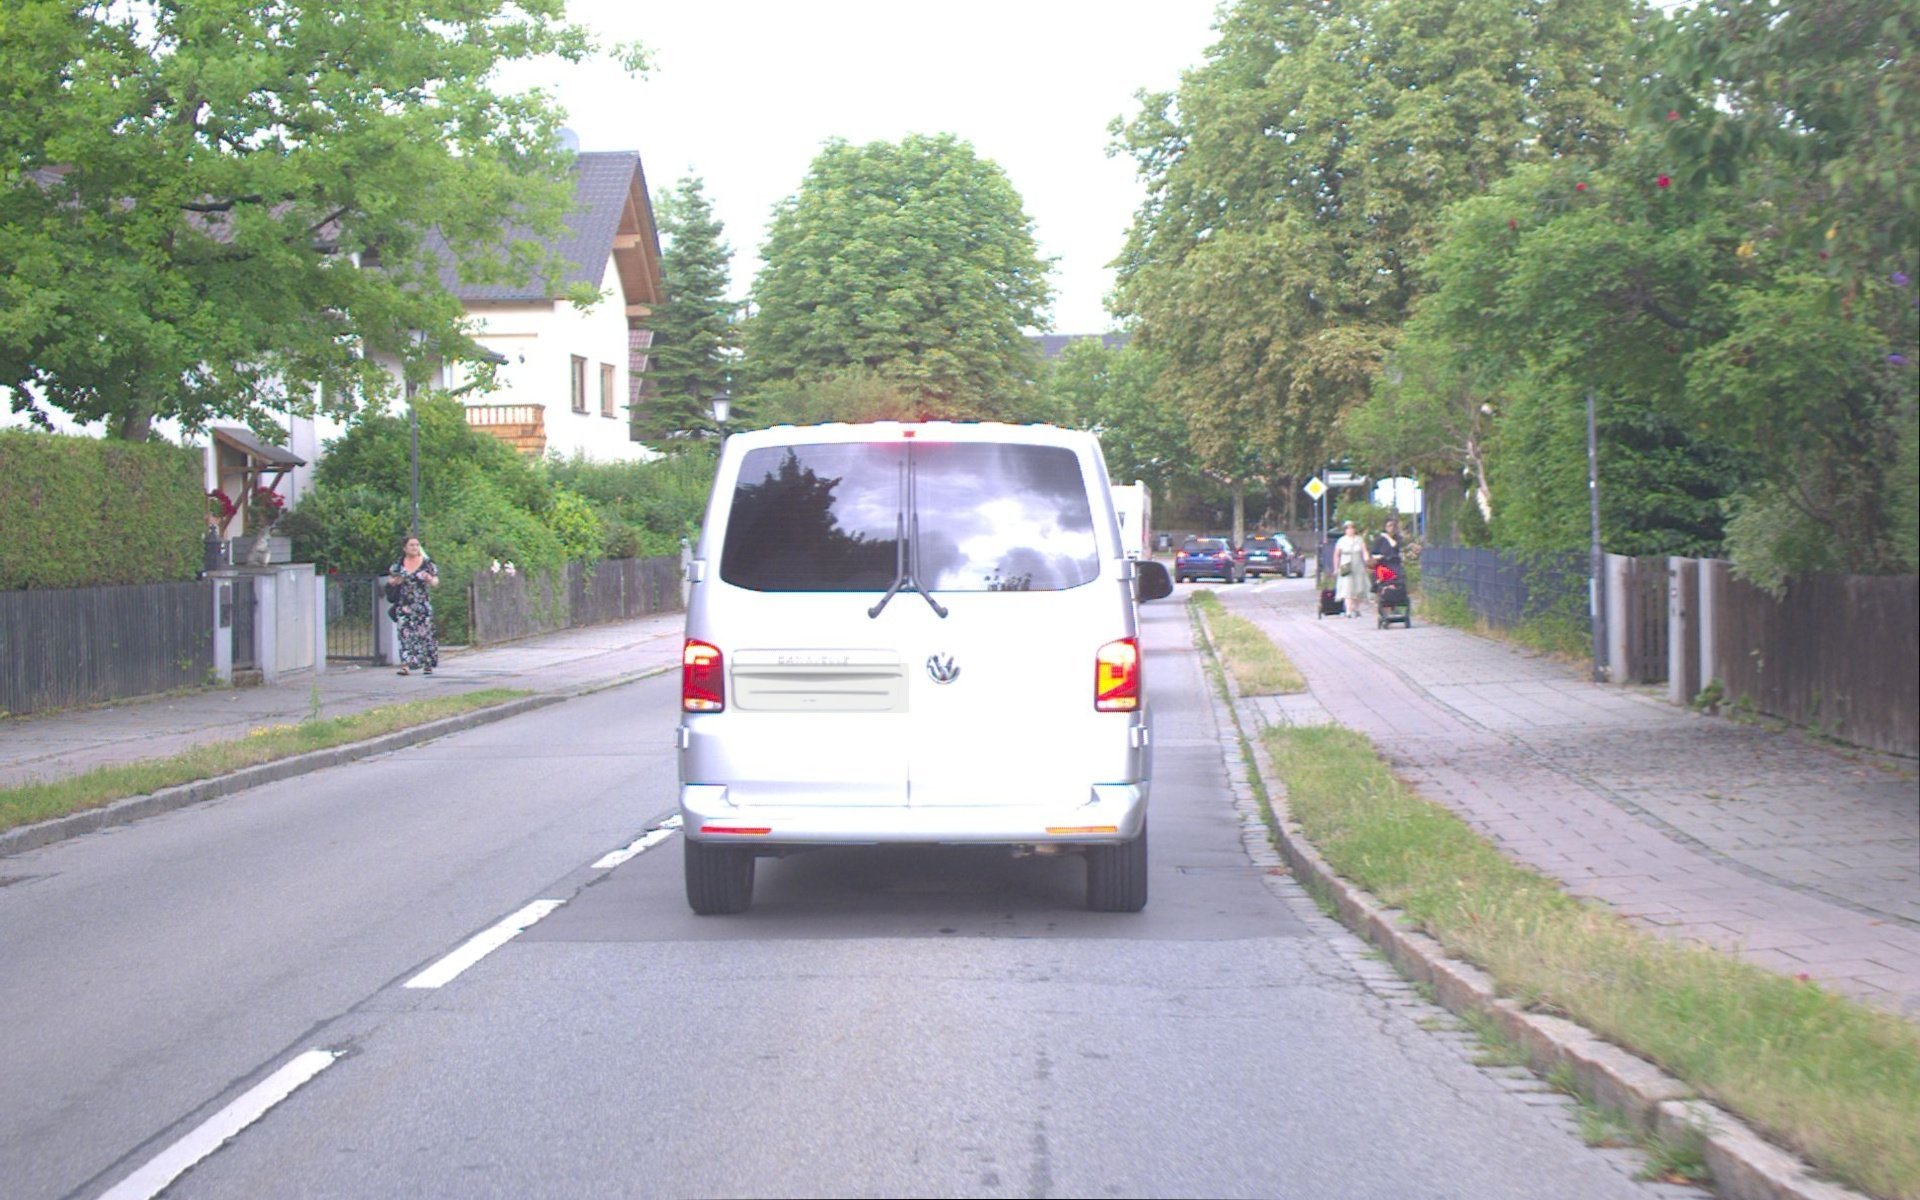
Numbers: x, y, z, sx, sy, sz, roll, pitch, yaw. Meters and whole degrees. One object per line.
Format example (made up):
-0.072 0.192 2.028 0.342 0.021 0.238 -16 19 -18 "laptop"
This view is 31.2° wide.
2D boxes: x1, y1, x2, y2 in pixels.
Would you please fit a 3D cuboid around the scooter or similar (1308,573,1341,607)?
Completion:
5.989 -0.171 56.467 0.474 0.543 0.459 1 1 -1 "scooter or similar"

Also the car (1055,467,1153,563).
3.185 -1.855 75.480 1.994 2.007 4.000 1 1 4 "car"

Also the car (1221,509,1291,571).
9.975 -2.035 115.540 1.994 2.007 3.999 -1 1 10 "car"

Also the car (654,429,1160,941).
-0.112 0.283 14.864 1.888 1.905 4.000 0 1 3 "car"

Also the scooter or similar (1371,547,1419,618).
5.990 -0.243 47.362 0.551 0.968 0.620 1 1 -1 "scooter or similar"

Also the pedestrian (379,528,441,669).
-6.084 -0.021 38.012 0.622 1.544 0.522 1 1 -13 "pedestrian"

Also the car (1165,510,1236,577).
7.410 -1.746 105.644 1.994 2.007 3.999 -1 1 6 "car"

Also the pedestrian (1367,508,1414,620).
6.016 -0.510 48.065 0.551 1.544 0.612 1 1 -1 "pedestrian"

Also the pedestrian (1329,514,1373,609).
6.346 -0.630 55.797 0.622 1.518 0.579 1 1 -1 "pedestrian"
